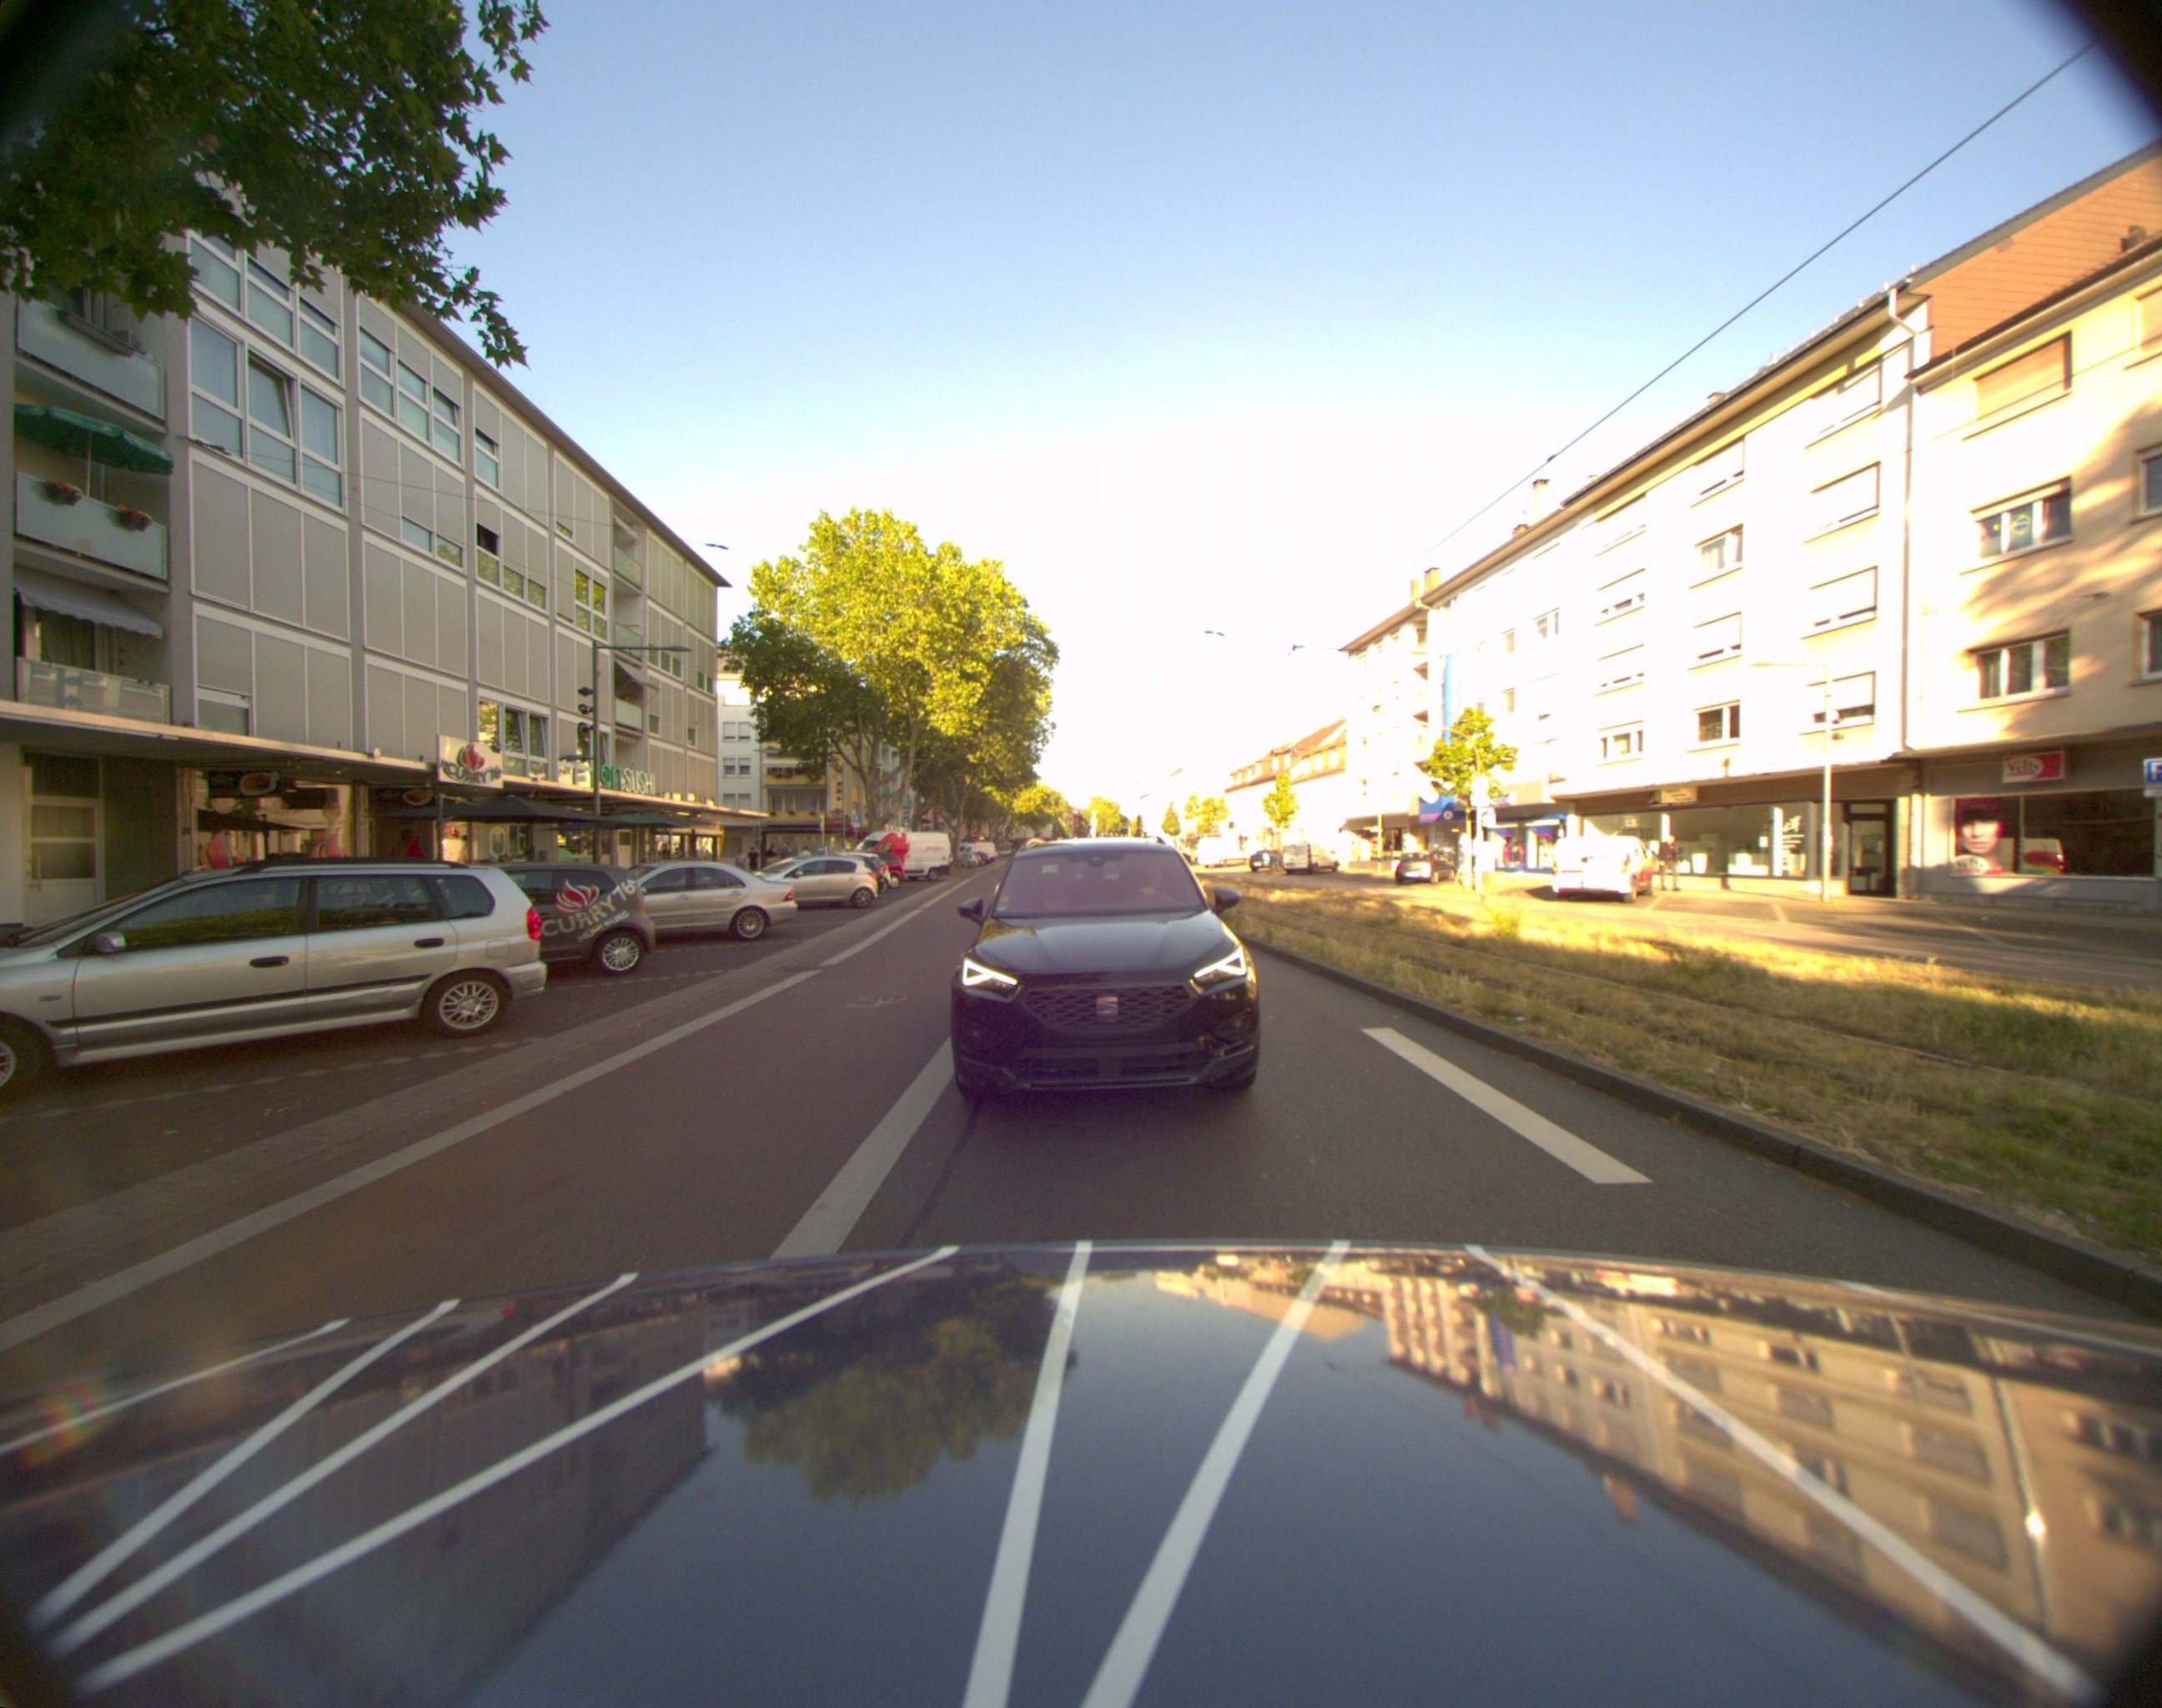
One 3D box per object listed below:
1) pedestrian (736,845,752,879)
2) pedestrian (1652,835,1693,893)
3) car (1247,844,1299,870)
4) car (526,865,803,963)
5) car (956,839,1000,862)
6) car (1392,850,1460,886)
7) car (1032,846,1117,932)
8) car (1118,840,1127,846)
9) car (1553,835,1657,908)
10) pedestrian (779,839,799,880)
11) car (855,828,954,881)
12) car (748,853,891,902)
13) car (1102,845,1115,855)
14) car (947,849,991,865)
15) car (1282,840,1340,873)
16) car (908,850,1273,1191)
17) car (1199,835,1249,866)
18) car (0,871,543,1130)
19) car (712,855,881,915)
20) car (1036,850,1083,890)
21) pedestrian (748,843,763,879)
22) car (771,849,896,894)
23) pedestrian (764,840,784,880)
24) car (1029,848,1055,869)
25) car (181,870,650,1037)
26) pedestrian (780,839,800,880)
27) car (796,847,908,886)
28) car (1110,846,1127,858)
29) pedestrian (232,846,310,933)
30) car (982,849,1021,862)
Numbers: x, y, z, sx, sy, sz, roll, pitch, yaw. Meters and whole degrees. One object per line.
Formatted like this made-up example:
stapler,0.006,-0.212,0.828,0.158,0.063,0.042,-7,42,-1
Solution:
pedestrian,-16.517,0.377,37.247,0.537,1.630,0.478,0,1,-4
pedestrian,19.128,0.319,24.595,0.756,1.817,0.918,-1,1,15
car,13.822,0.191,54.678,3.922,1.704,1.853,-2,1,-45
car,-7.149,0.928,13.355,1.592,1.393,3.950,2,1,41
car,-11.532,-0.420,85.132,1.973,2.454,4.605,1,1,44
car,15.468,0.600,33.974,1.731,1.431,4.008,-1,1,40
car,-0.144,0.685,17.247,1.646,1.646,3.999,-2,1,-1
car,12.702,-3.349,232.459,2.497,1.871,5.275,0,1,4
car,15.623,0.452,22.570,1.853,1.888,4.007,-1,2,44
pedestrian,-14.127,0.254,36.820,0.748,2.002,0.559,0,1,-4
car,-8.722,0.052,37.845,4.606,2.479,1.672,0,0,-44
car,-8.249,0.724,24.051,3.949,1.420,1.672,1,1,-34
car,5.271,-0.796,147.041,1.999,1.783,3.998,0,1,-4
car,-10.721,0.276,72.811,1.778,1.396,3.943,1,1,44
car,14.537,0.111,47.832,1.853,1.927,4.513,-1,1,40
car,0.083,0.838,5.844,1.785,1.639,3.999,-2,1,1
car,13.013,-0.363,68.616,1.922,2.599,6.601,-1,1,34
car,-6.888,0.956,6.001,1.672,1.533,3.993,2,1,38
car,-7.568,0.795,20.479,3.950,1.420,1.555,1,1,-45
car,-0.833,0.599,30.828,1.729,1.467,3.999,-2,1,-1
pedestrian,-15.970,0.340,37.329,0.545,1.710,0.457,0,1,-4
car,-8.861,0.635,27.314,3.948,1.421,1.672,2,2,-32
pedestrian,-15.275,0.287,37.836,0.748,1.964,0.575,0,1,-4
car,-2.994,0.329,58.995,1.729,1.443,4.227,-2,1,-1
car,-7.593,0.960,9.034,1.672,1.420,3.950,2,1,38
pedestrian,-14.472,0.283,37.807,0.748,2.002,0.764,0,1,-4
car,-9.192,0.493,30.555,3.948,1.421,1.672,1,2,-32
car,5.157,-0.292,104.599,1.846,1.571,4.448,0,1,-5
pedestrian,-15.088,0.636,14.164,0.583,1.573,0.771,0,1,2
car,-8.630,0.161,82.444,1.778,1.326,3.943,1,1,44
